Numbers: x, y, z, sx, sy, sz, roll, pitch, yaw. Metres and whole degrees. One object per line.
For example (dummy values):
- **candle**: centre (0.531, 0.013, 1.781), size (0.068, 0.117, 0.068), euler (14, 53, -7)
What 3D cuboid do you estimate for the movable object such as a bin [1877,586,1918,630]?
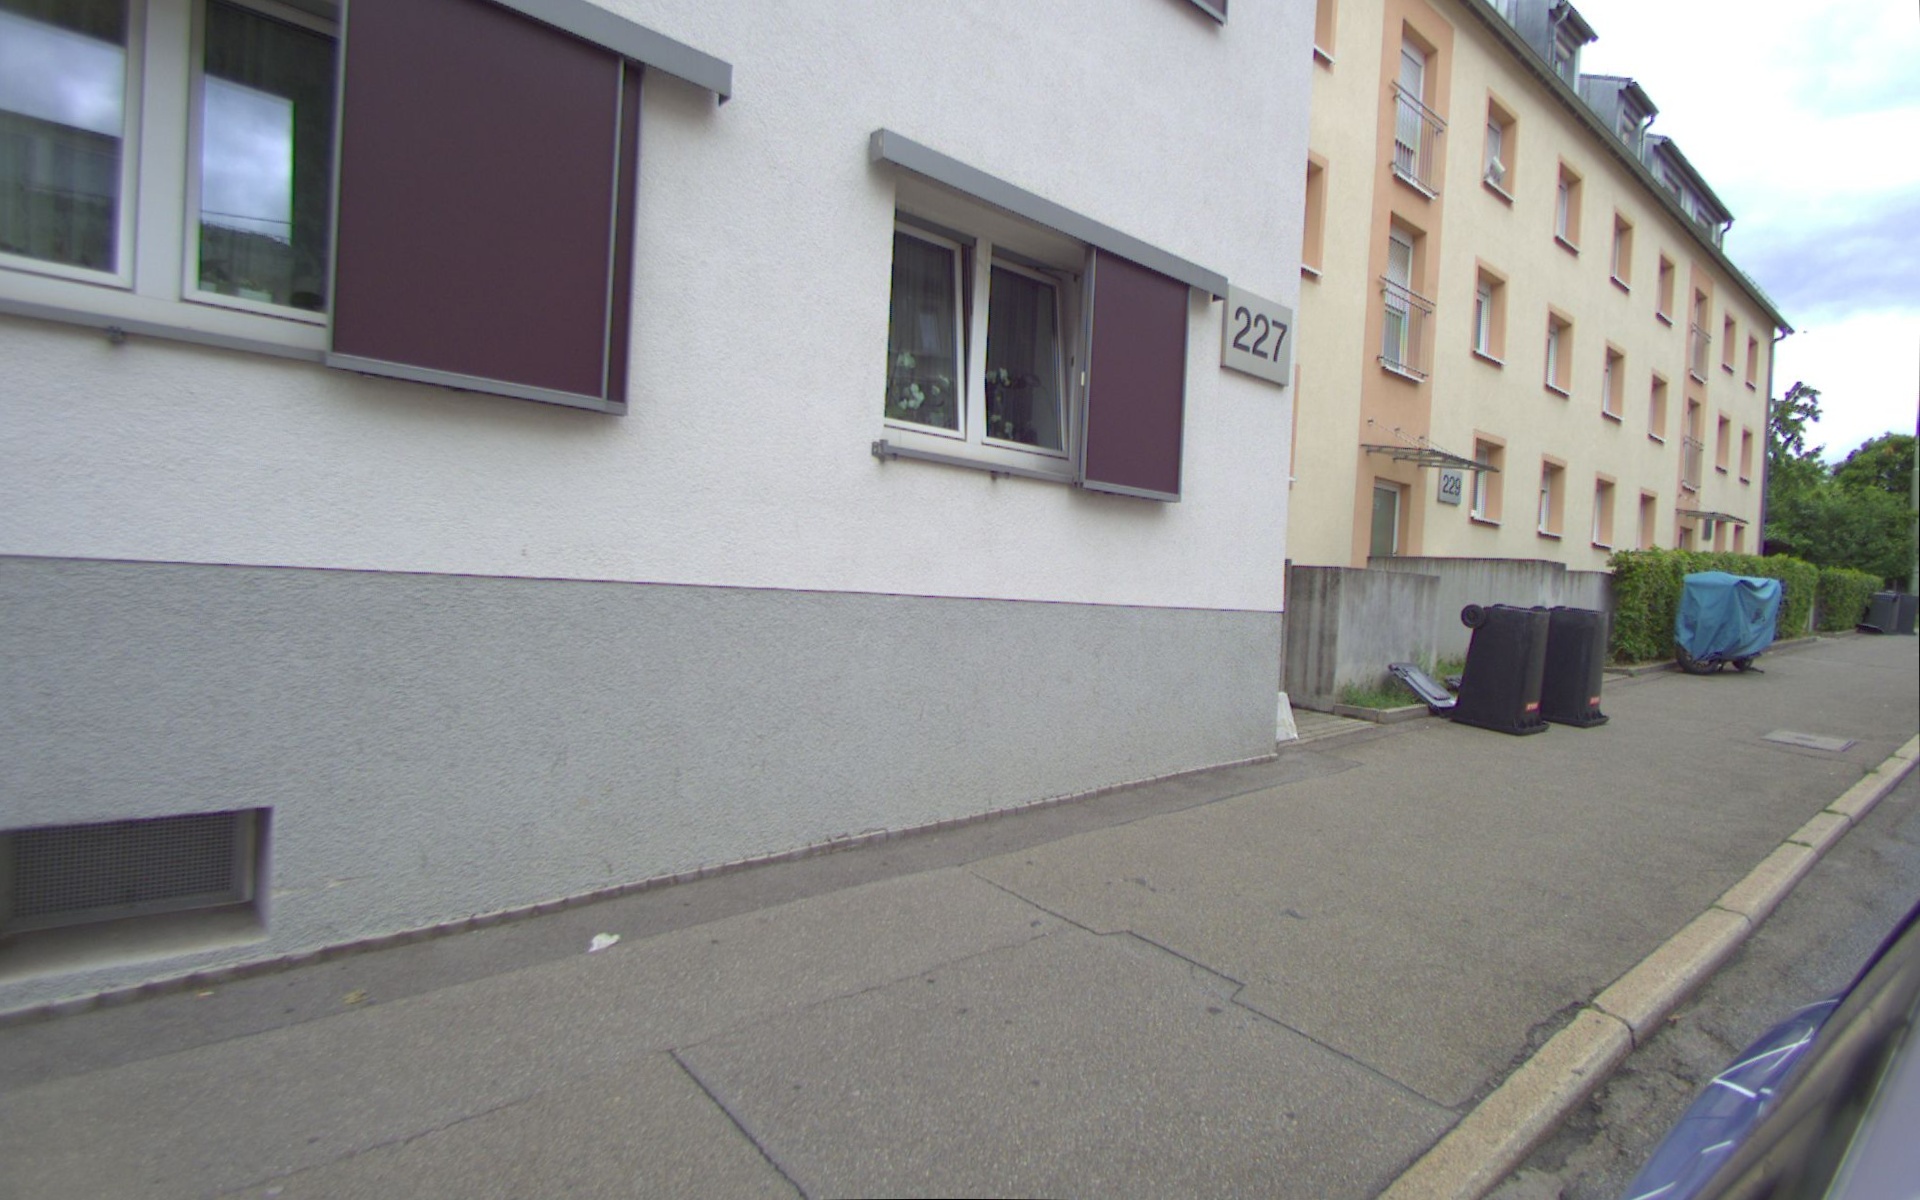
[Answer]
- **movable object such as a bin**: centre (23.161, 0.187, 25.002), size (0.530, 1.072, 0.669), euler (0, 0, -40)

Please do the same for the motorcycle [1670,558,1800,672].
- **motorcycle**: centre (10.553, 0.184, 13.764), size (1.899, 1.406, 0.733), euler (0, 5, -34)

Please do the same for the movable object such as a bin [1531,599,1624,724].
- **movable object such as a bin**: centre (5.489, 0.524, 8.993), size (0.563, 1.021, 0.491), euler (6, 4, 41)

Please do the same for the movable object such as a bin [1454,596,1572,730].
- **movable object such as a bin**: centre (4.662, 0.504, 8.545), size (0.592, 1.021, 0.638), euler (0, 4, -40)
